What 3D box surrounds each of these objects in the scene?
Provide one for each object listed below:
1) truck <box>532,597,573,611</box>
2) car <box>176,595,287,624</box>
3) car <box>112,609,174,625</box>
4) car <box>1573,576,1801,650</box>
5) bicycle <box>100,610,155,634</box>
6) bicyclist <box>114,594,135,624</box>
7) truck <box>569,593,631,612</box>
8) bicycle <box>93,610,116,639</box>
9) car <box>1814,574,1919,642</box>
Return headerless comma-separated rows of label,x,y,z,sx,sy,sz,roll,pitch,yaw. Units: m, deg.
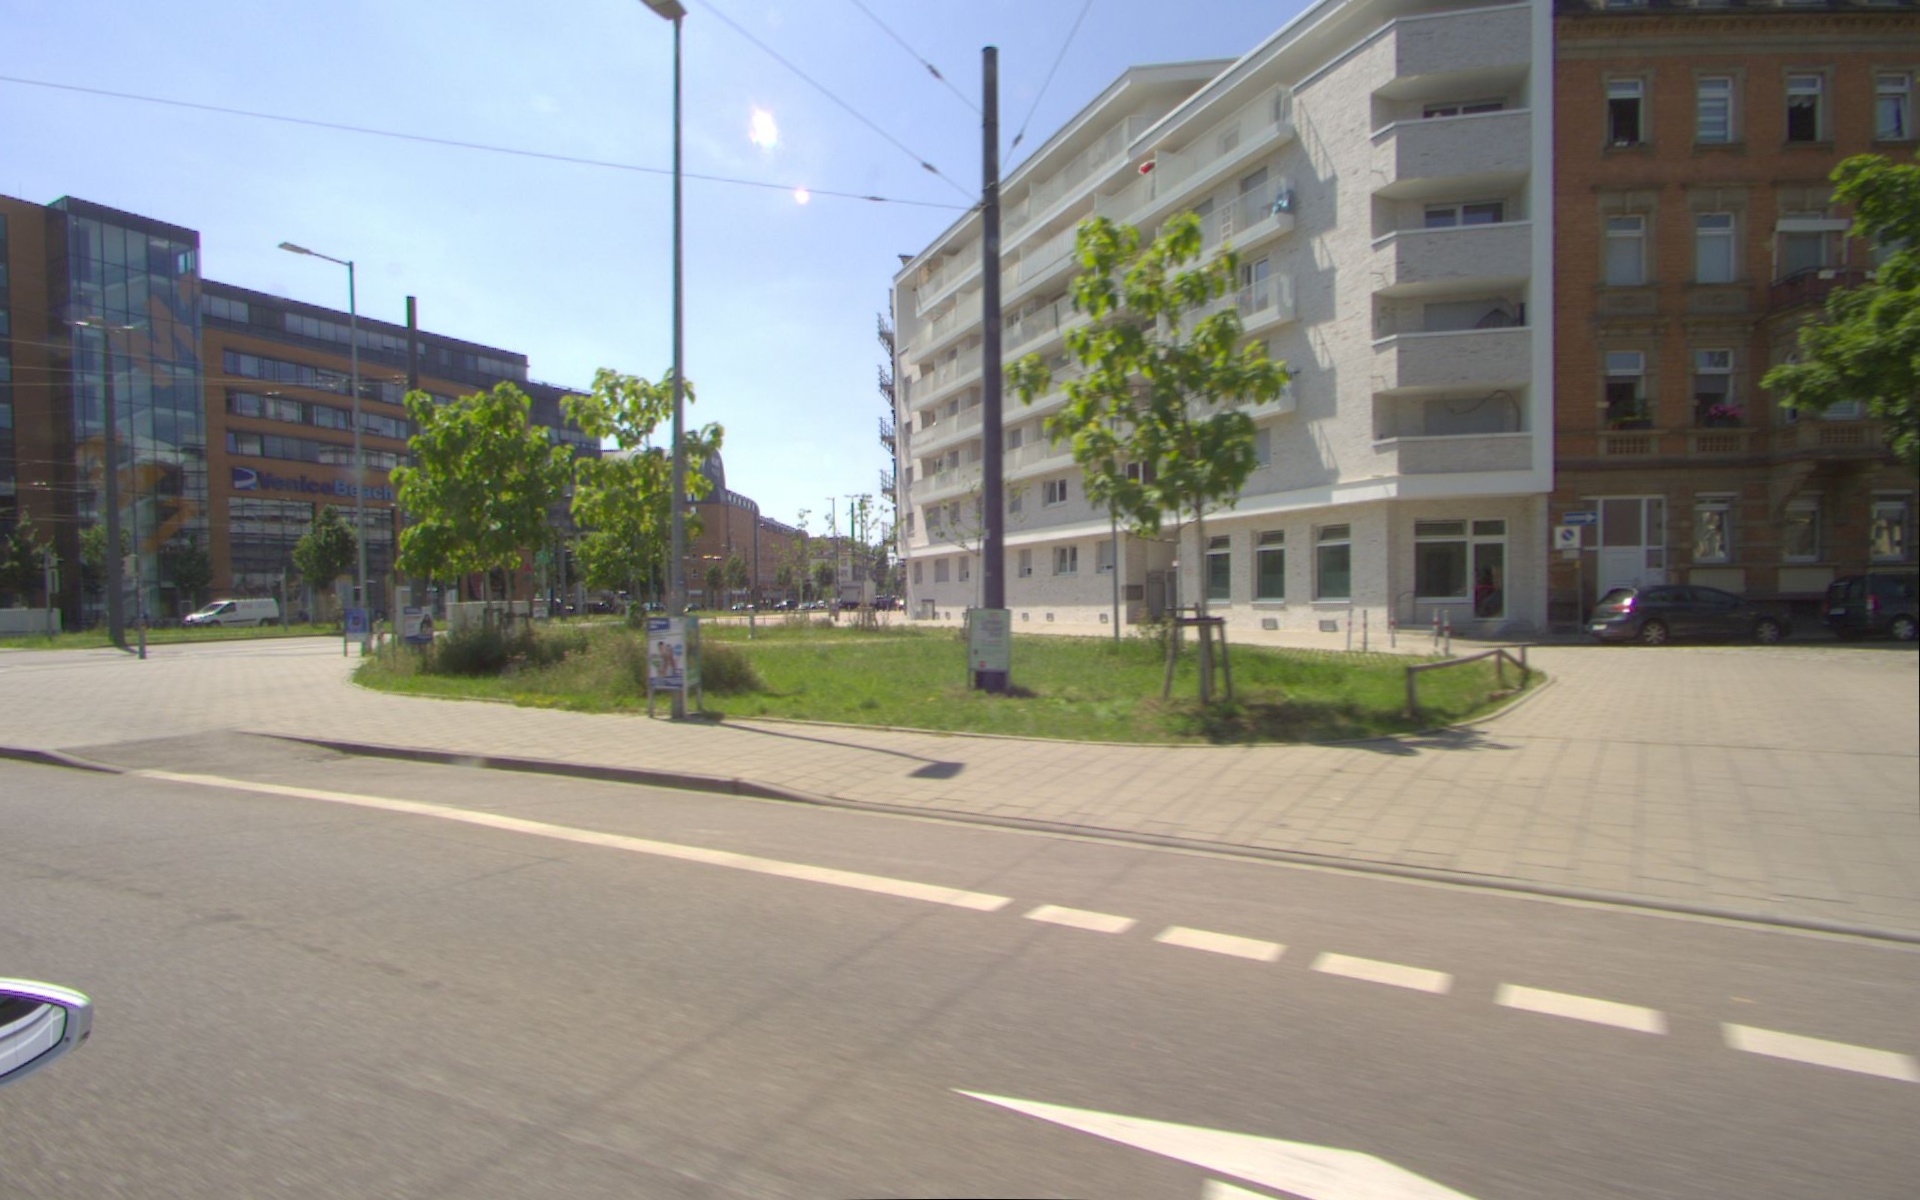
truck,-59.017,0.619,144.996,5.275,2.040,1.882,1,0,4
car,-45.848,0.607,63.157,1.966,1.690,5.466,0,-1,23
car,-55.496,1.177,68.020,1.328,1.049,2.993,0,-1,25
car,17.075,0.301,23.691,4.050,1.646,1.695,0,0,5
bicycle,-57.044,1.503,68.677,0.694,1.577,2.845,1,0,31
bicyclist,-57.103,0.643,68.443,0.737,2.040,0.911,1,0,30
truck,-55.114,0.335,153.442,9.062,2.846,1.999,0,0,8
bicycle,-59.501,1.693,69.647,2.312,2.040,0.484,0,0,31
car,23.143,0.203,23.804,4.002,1.549,1.777,0,0,5
